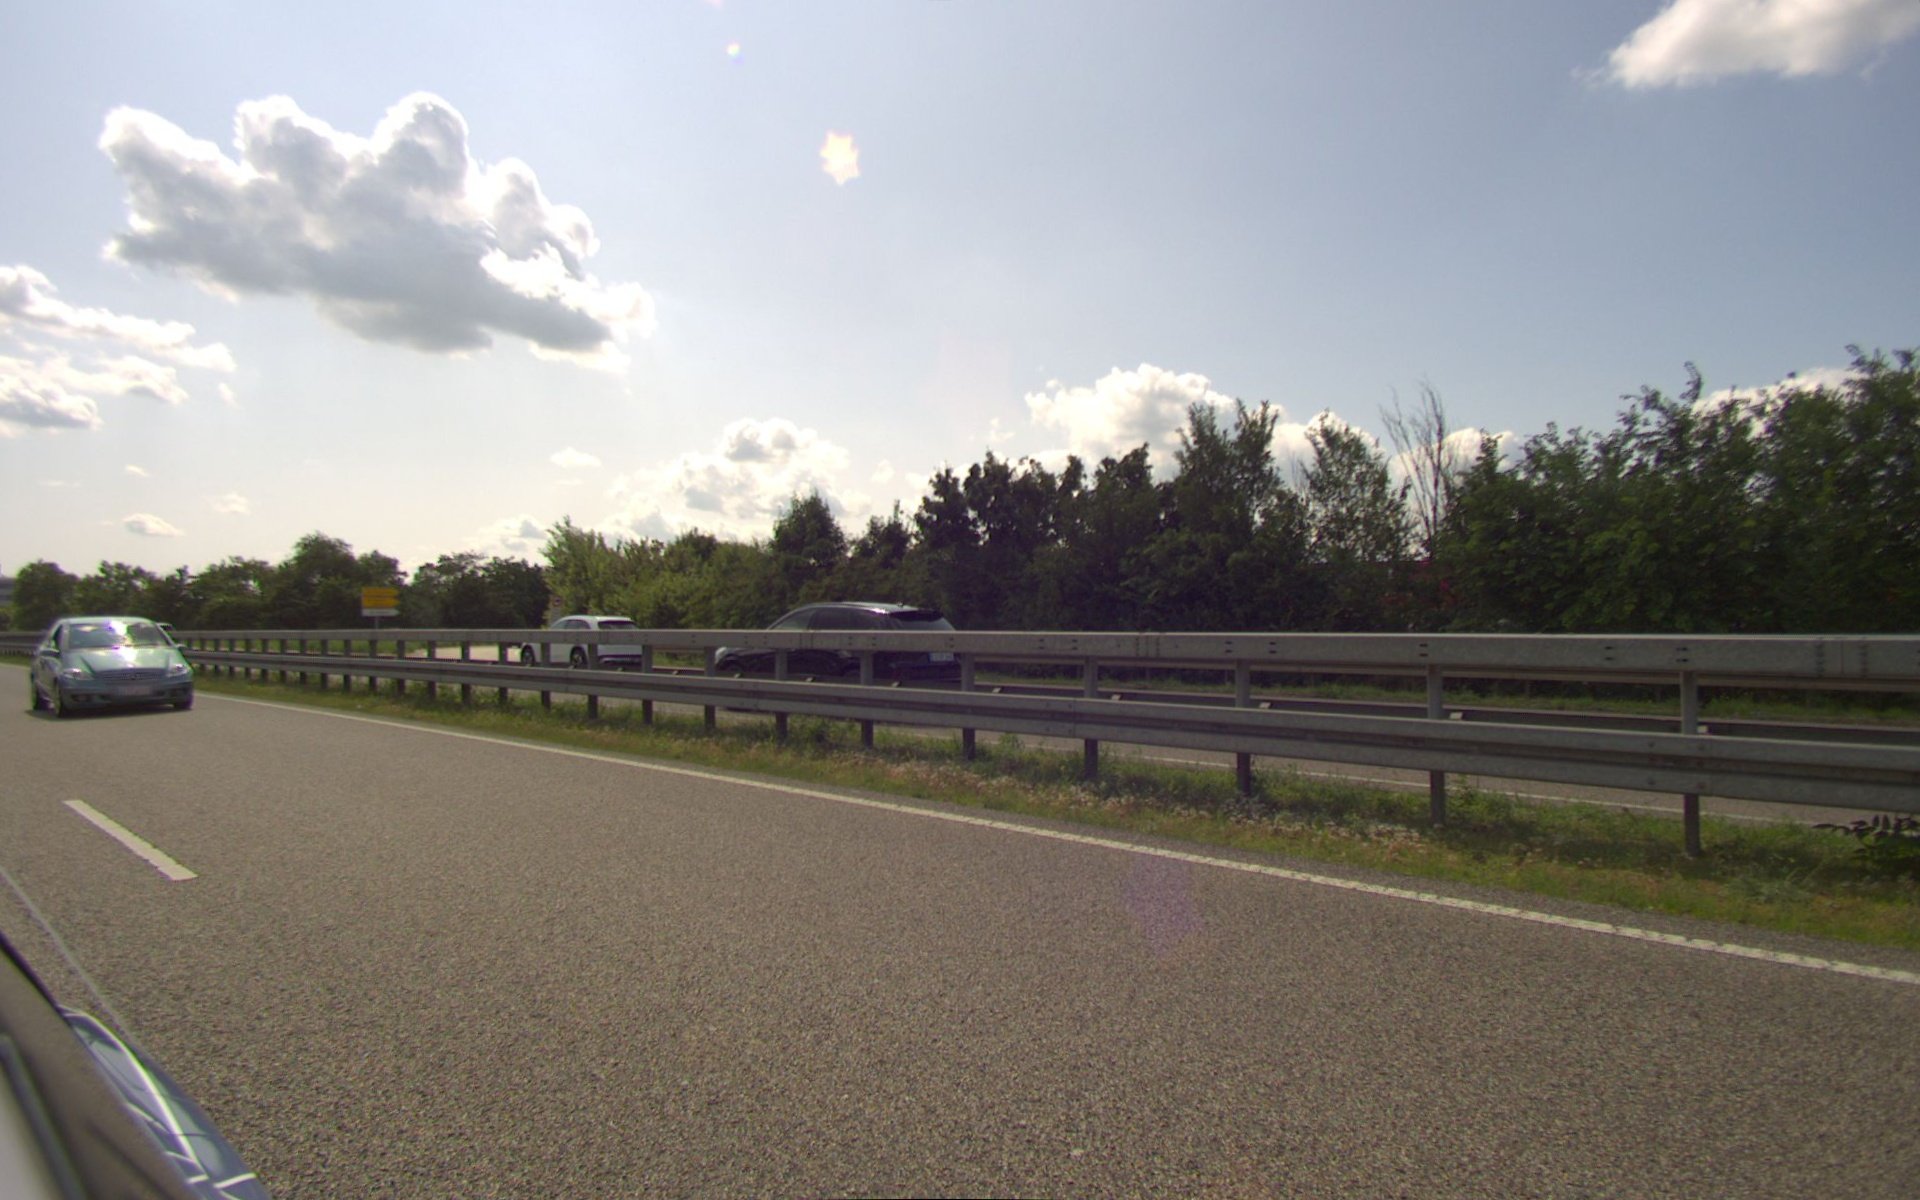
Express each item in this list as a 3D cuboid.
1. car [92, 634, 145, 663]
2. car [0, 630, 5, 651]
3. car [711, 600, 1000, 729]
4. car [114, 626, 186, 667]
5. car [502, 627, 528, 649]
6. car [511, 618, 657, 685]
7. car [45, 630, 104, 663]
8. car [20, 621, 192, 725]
[{"bbox_3d":[-53.932,3.101,64.860,4.549,1.658,1.940,-1,0,42],"label":"car"},{"bbox_3d":[-77.248,3.210,80.131,4.549,1.658,1.940,-1,0,42],"label":"car"},{"bbox_3d":[-1.635,0.843,14.983,4.130,1.609,1.973,-1,0,41],"label":"car"},{"bbox_3d":[-36.202,2.032,45.187,4.266,1.658,1.671,-1,0,40],"label":"car"},{"bbox_3d":[-34.623,2.955,78.807,1.700,1.538,4.013,-1,0,-22],"label":"car"},{"bbox_3d":[-10.640,1.373,28.485,4.549,1.658,1.940,-1,0,42],"label":"car"},{"bbox_3d":[-49.673,2.567,56.717,4.549,1.658,1.940,-1,0,42],"label":"car"},{"bbox_3d":[-14.719,1.160,17.375,3.999,1.543,1.729,-1,-1,42],"label":"car"}]
